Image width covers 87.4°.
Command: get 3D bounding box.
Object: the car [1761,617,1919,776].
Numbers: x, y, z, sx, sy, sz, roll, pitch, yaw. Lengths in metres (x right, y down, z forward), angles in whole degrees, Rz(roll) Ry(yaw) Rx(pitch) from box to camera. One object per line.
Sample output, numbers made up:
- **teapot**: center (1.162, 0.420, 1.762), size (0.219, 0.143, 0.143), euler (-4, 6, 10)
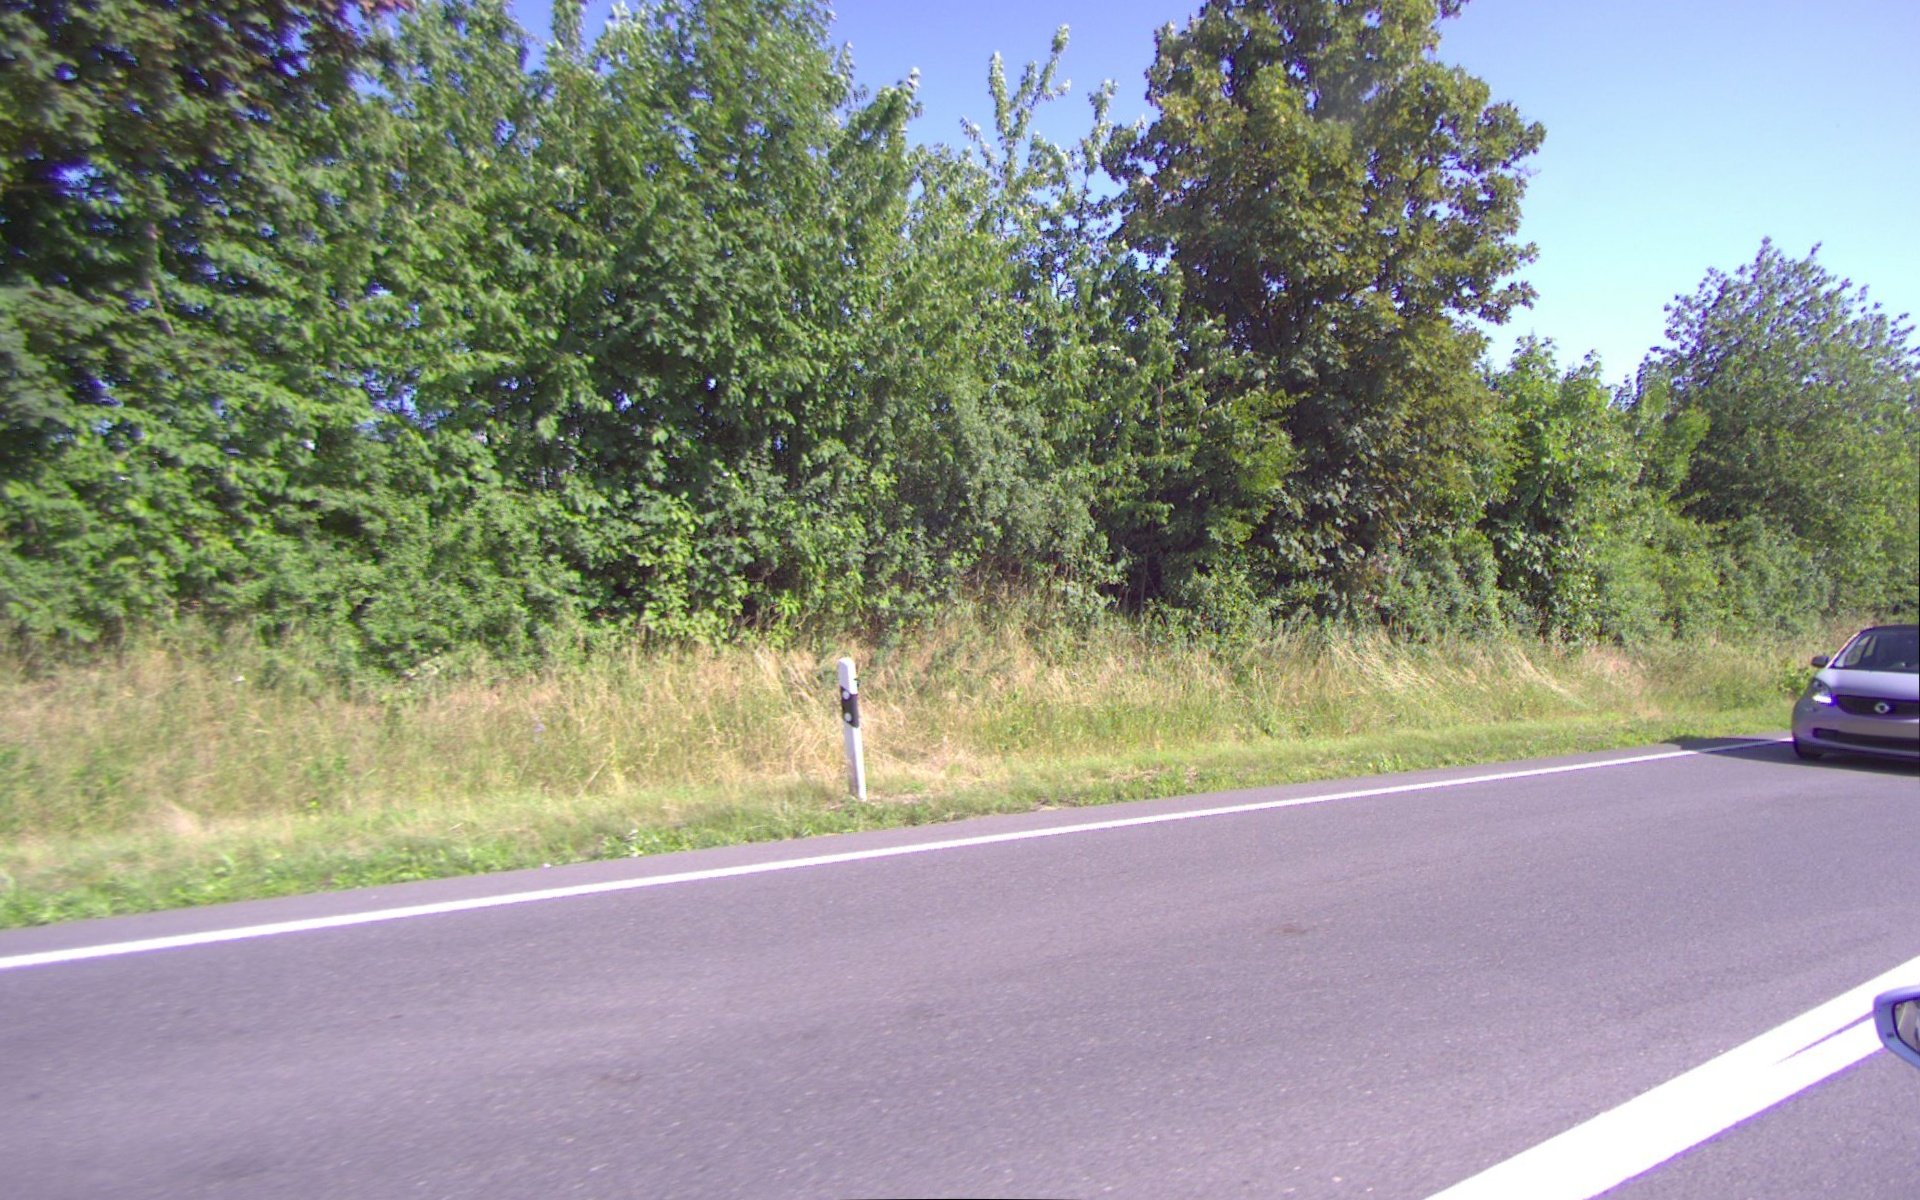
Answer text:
- **car**: center (11.103, 1.021, 11.509), size (3.956, 1.580, 1.846), euler (1, -1, -33)
